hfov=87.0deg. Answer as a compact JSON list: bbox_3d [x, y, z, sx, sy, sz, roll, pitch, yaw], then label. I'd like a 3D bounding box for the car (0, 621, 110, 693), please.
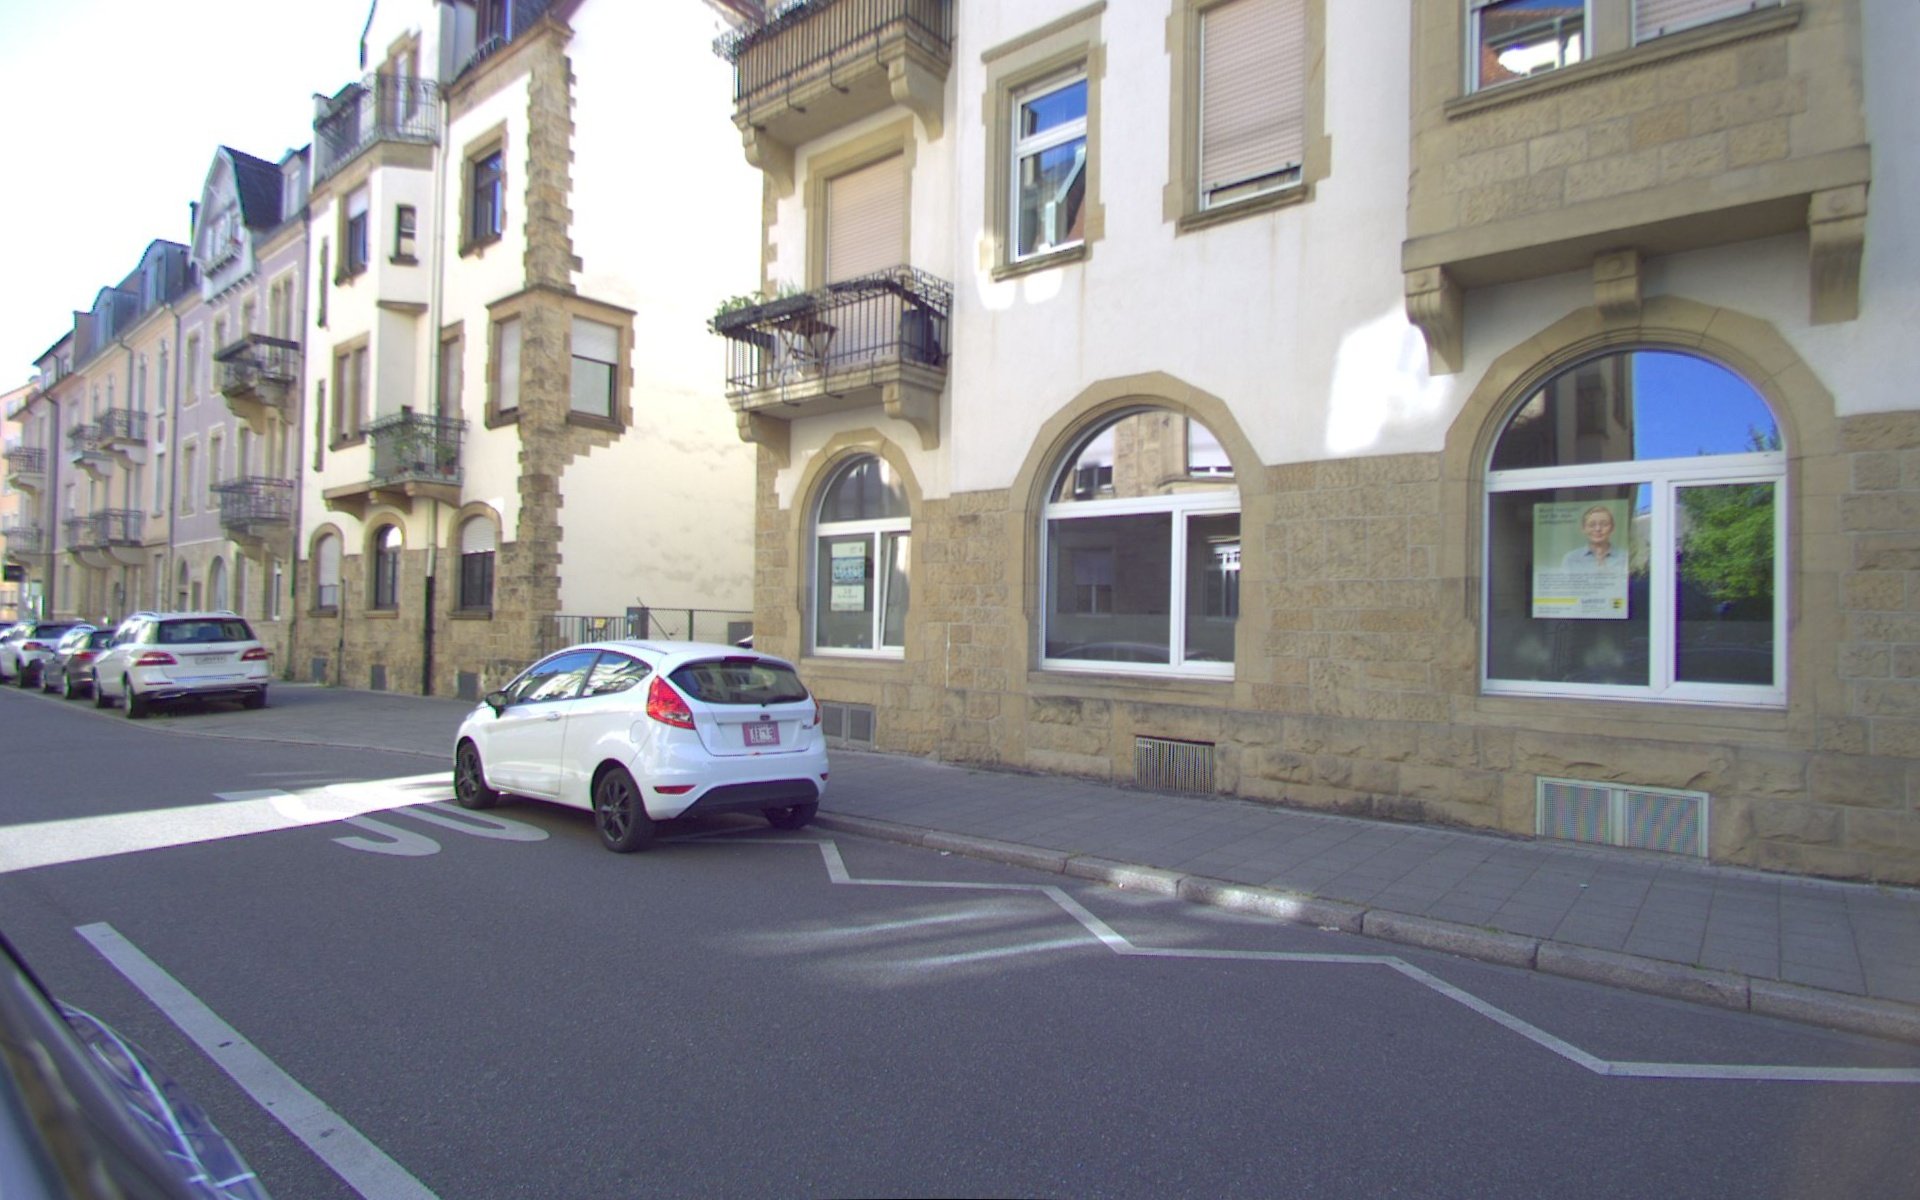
[{"bbox_3d":[-22.857,1.360,25.272,4.015,1.595,1.698,-1,1,38],"label":"car"}]

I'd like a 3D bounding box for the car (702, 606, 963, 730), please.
[{"bbox_3d":[-1.934,1.047,16.323,1.908,1.741,3.928,-2,-3,40],"label":"car"}]

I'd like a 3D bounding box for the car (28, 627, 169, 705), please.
[{"bbox_3d":[-18.540,1.338,21.717,4.275,1.498,1.558,-1,-1,39],"label":"car"}]

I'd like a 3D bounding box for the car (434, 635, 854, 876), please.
[{"bbox_3d":[-2.709,1.046,8.247,3.734,1.475,1.616,-1,-2,43],"label":"car"}]

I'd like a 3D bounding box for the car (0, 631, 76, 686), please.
[{"bbox_3d":[-26.864,1.620,28.860,3.658,1.404,1.658,-1,1,36],"label":"car"}]

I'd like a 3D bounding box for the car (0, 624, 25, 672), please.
[{"bbox_3d":[-33.058,1.610,34.122,3.719,1.550,1.698,-1,-2,38],"label":"car"}]

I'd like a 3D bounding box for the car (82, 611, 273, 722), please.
[{"bbox_3d":[-14.115,1.105,18.157,4.724,1.735,1.872,-1,-2,42],"label":"car"}]
